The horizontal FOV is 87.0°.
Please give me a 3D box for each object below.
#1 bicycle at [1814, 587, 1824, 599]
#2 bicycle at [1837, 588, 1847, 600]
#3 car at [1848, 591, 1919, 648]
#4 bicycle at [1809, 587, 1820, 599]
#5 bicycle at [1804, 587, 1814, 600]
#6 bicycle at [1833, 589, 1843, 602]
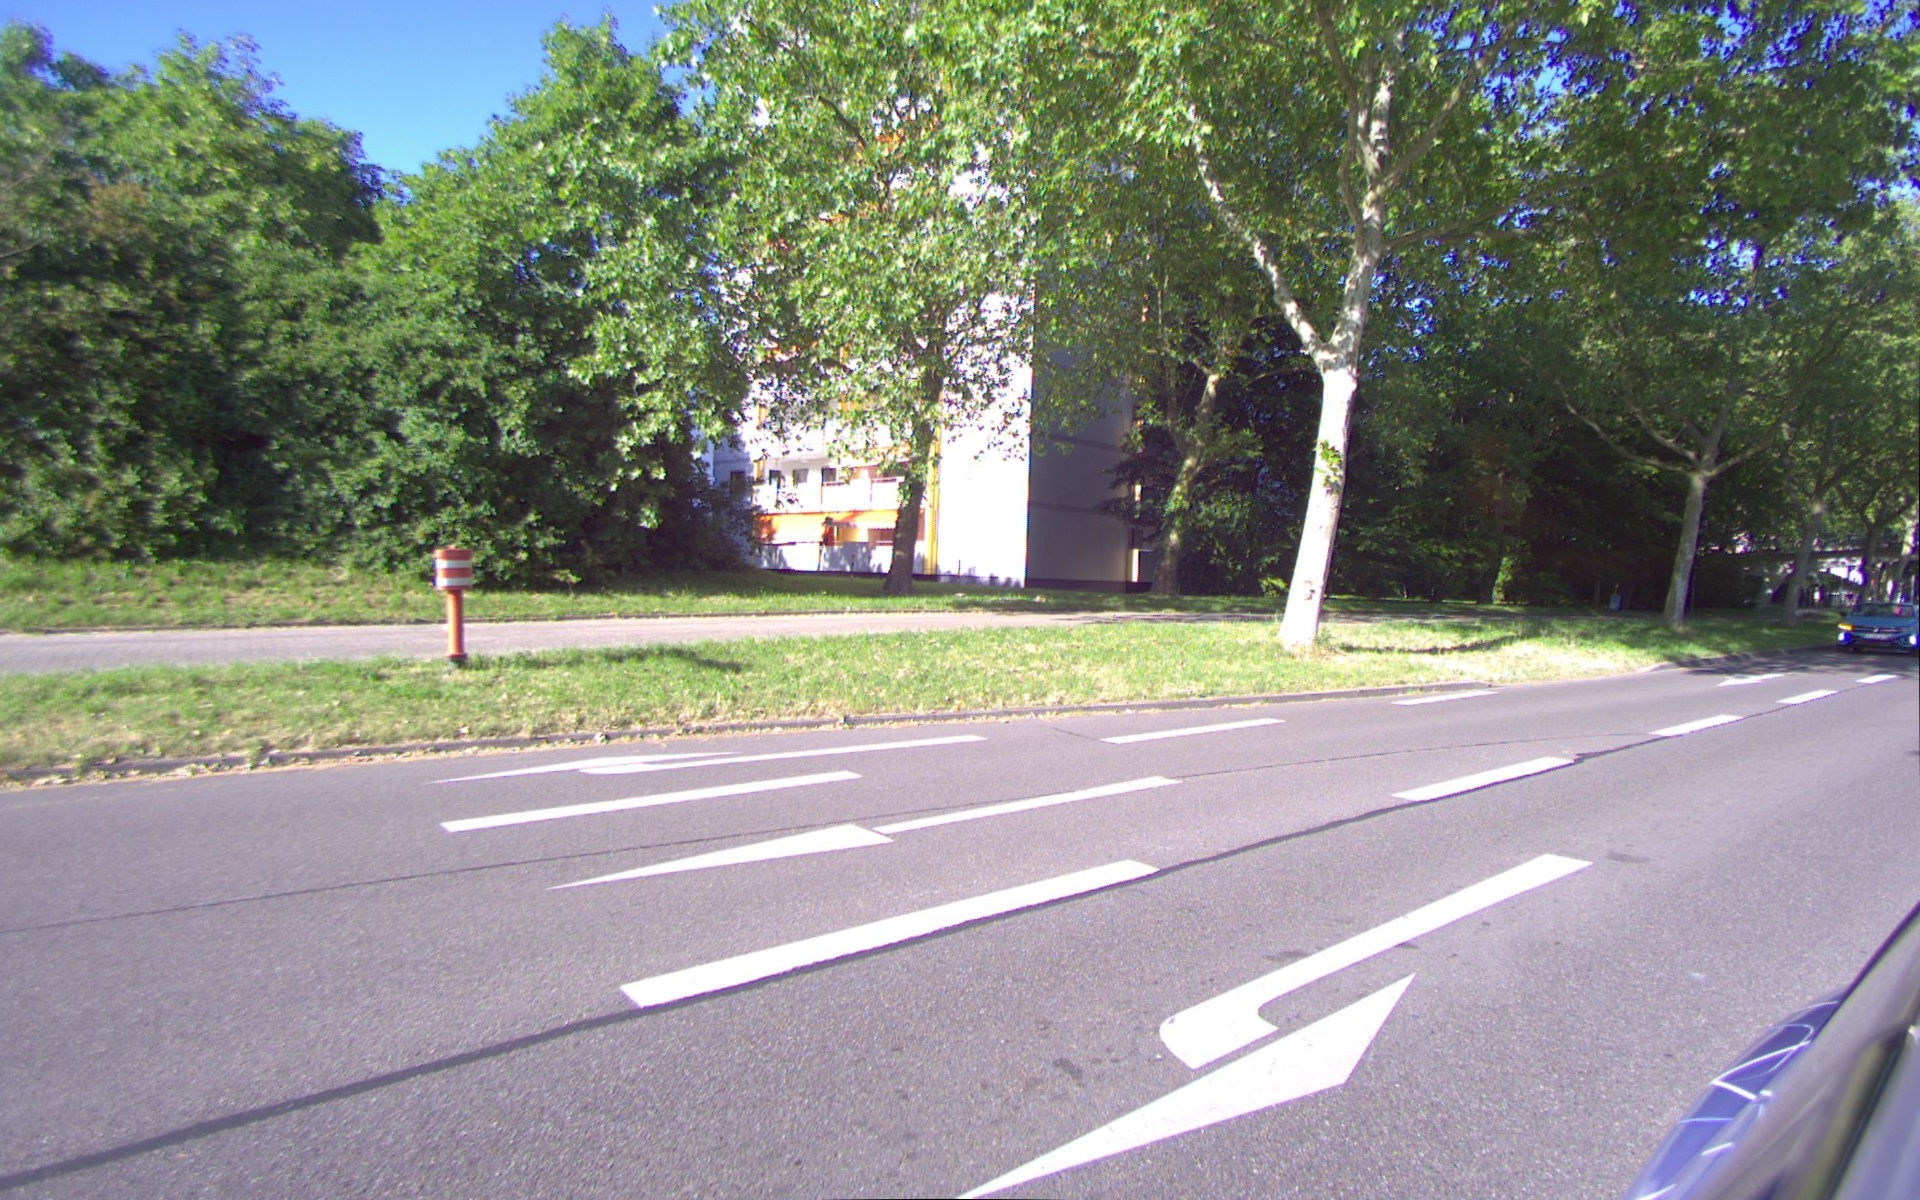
[{"bbox_3d":[91.627,-0.729,107.893,1.775,1.269,0.576,0,1,-42],"label":"bicycle"},{"bbox_3d":[94.169,-0.639,108.064,1.775,1.269,0.576,0,1,-42],"label":"bicycle"},{"bbox_3d":[26.886,0.534,28.833,4.027,1.502,1.779,1,0,-40],"label":"car"},{"bbox_3d":[87.141,-0.705,103.175,1.775,1.269,0.576,0,1,-42],"label":"bicycle"},{"bbox_3d":[84.286,-0.674,100.471,1.775,1.269,0.576,0,1,-42],"label":"bicycle"},{"bbox_3d":[90.754,-0.482,104.631,1.775,1.269,0.576,0,1,-42],"label":"bicycle"}]
